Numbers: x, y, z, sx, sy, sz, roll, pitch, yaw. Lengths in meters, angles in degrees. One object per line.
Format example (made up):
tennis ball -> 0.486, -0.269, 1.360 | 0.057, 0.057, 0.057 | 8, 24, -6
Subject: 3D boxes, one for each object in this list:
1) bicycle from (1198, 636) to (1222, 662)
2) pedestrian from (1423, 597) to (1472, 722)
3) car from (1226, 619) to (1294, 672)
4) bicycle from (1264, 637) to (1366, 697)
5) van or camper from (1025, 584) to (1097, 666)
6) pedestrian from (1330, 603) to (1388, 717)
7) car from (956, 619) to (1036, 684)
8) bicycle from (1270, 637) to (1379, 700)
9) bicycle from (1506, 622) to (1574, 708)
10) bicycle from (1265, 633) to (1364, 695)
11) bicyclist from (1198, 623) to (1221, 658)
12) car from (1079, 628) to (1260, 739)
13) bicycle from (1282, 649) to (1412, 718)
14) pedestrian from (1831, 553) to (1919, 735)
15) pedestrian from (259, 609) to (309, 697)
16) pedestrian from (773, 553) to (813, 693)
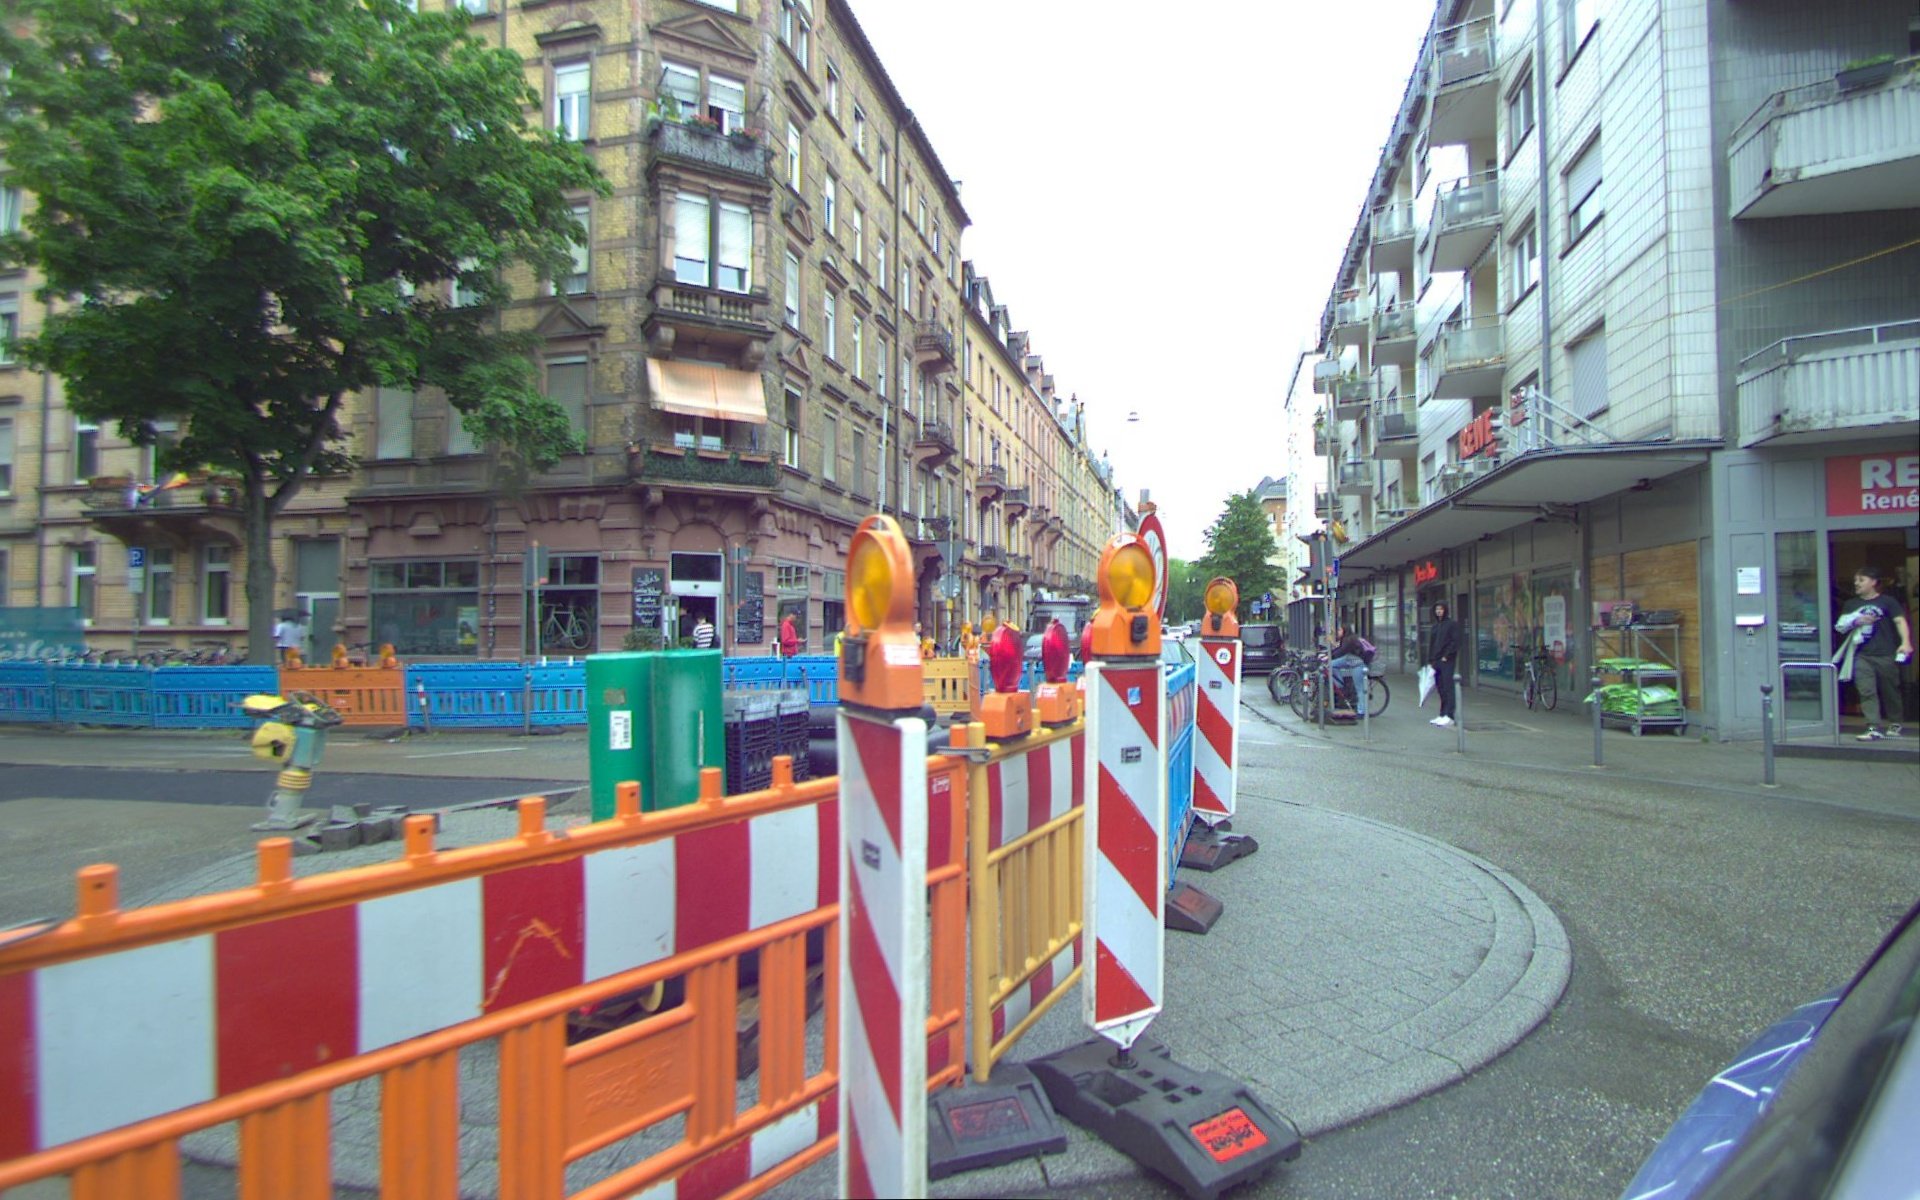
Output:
bicycle -> 11.807, 2.297, 47.824 | 0.978, 1.171, 2.864 | -1, -2, 12
pedestrian -> 7.501, 0.905, 15.601 | 0.598, 1.872, 0.763 | -1, -3, 23
car -> 10.728, 1.622, 36.460 | 1.872, 1.813, 3.987 | -1, -2, 10
bicycle -> 7.750, 1.465, 22.141 | 2.008, 1.211, 0.547 | -4, -3, 21
van or camper -> 4.636, 1.143, 45.344 | 2.376, 3.371, 7.044 | -1, -2, 12
pedestrian -> 6.718, 0.995, 17.059 | 0.853, 1.872, 0.763 | -1, -3, 23
car -> 1.154, 1.494, 30.279 | 1.872, 1.813, 3.987 | -1, -2, 10
bicycle -> 7.470, 1.413, 20.799 | 1.998, 1.211, 0.547 | -4, -3, 21
bicycle -> 10.034, 1.103, 17.571 | 0.444, 1.392, 2.013 | -4, -3, 15
bicycle -> 7.936, 1.434, 22.710 | 1.998, 1.295, 0.547 | -4, -3, 21
bicyclist -> 11.799, 1.896, 47.838 | 0.979, 1.621, 1.256 | -1, -2, 13
car -> 3.064, 1.175, 15.866 | 1.825, 1.417, 4.978 | 0, -1, 1
bicycle -> 6.489, 1.398, 17.017 | 1.859, 1.047, 0.661 | -2, -3, 0
pedestrian -> 10.177, 0.476, 11.162 | 0.594, 1.922, 0.718 | 0, -2, -40
pedestrian -> -15.157, 1.178, 22.707 | 0.631, 1.943, 0.670 | -1, -2, 15
pedestrian -> -3.222, 0.437, 19.516 | 0.681, 2.642, 0.541 | 0, -2, -17
